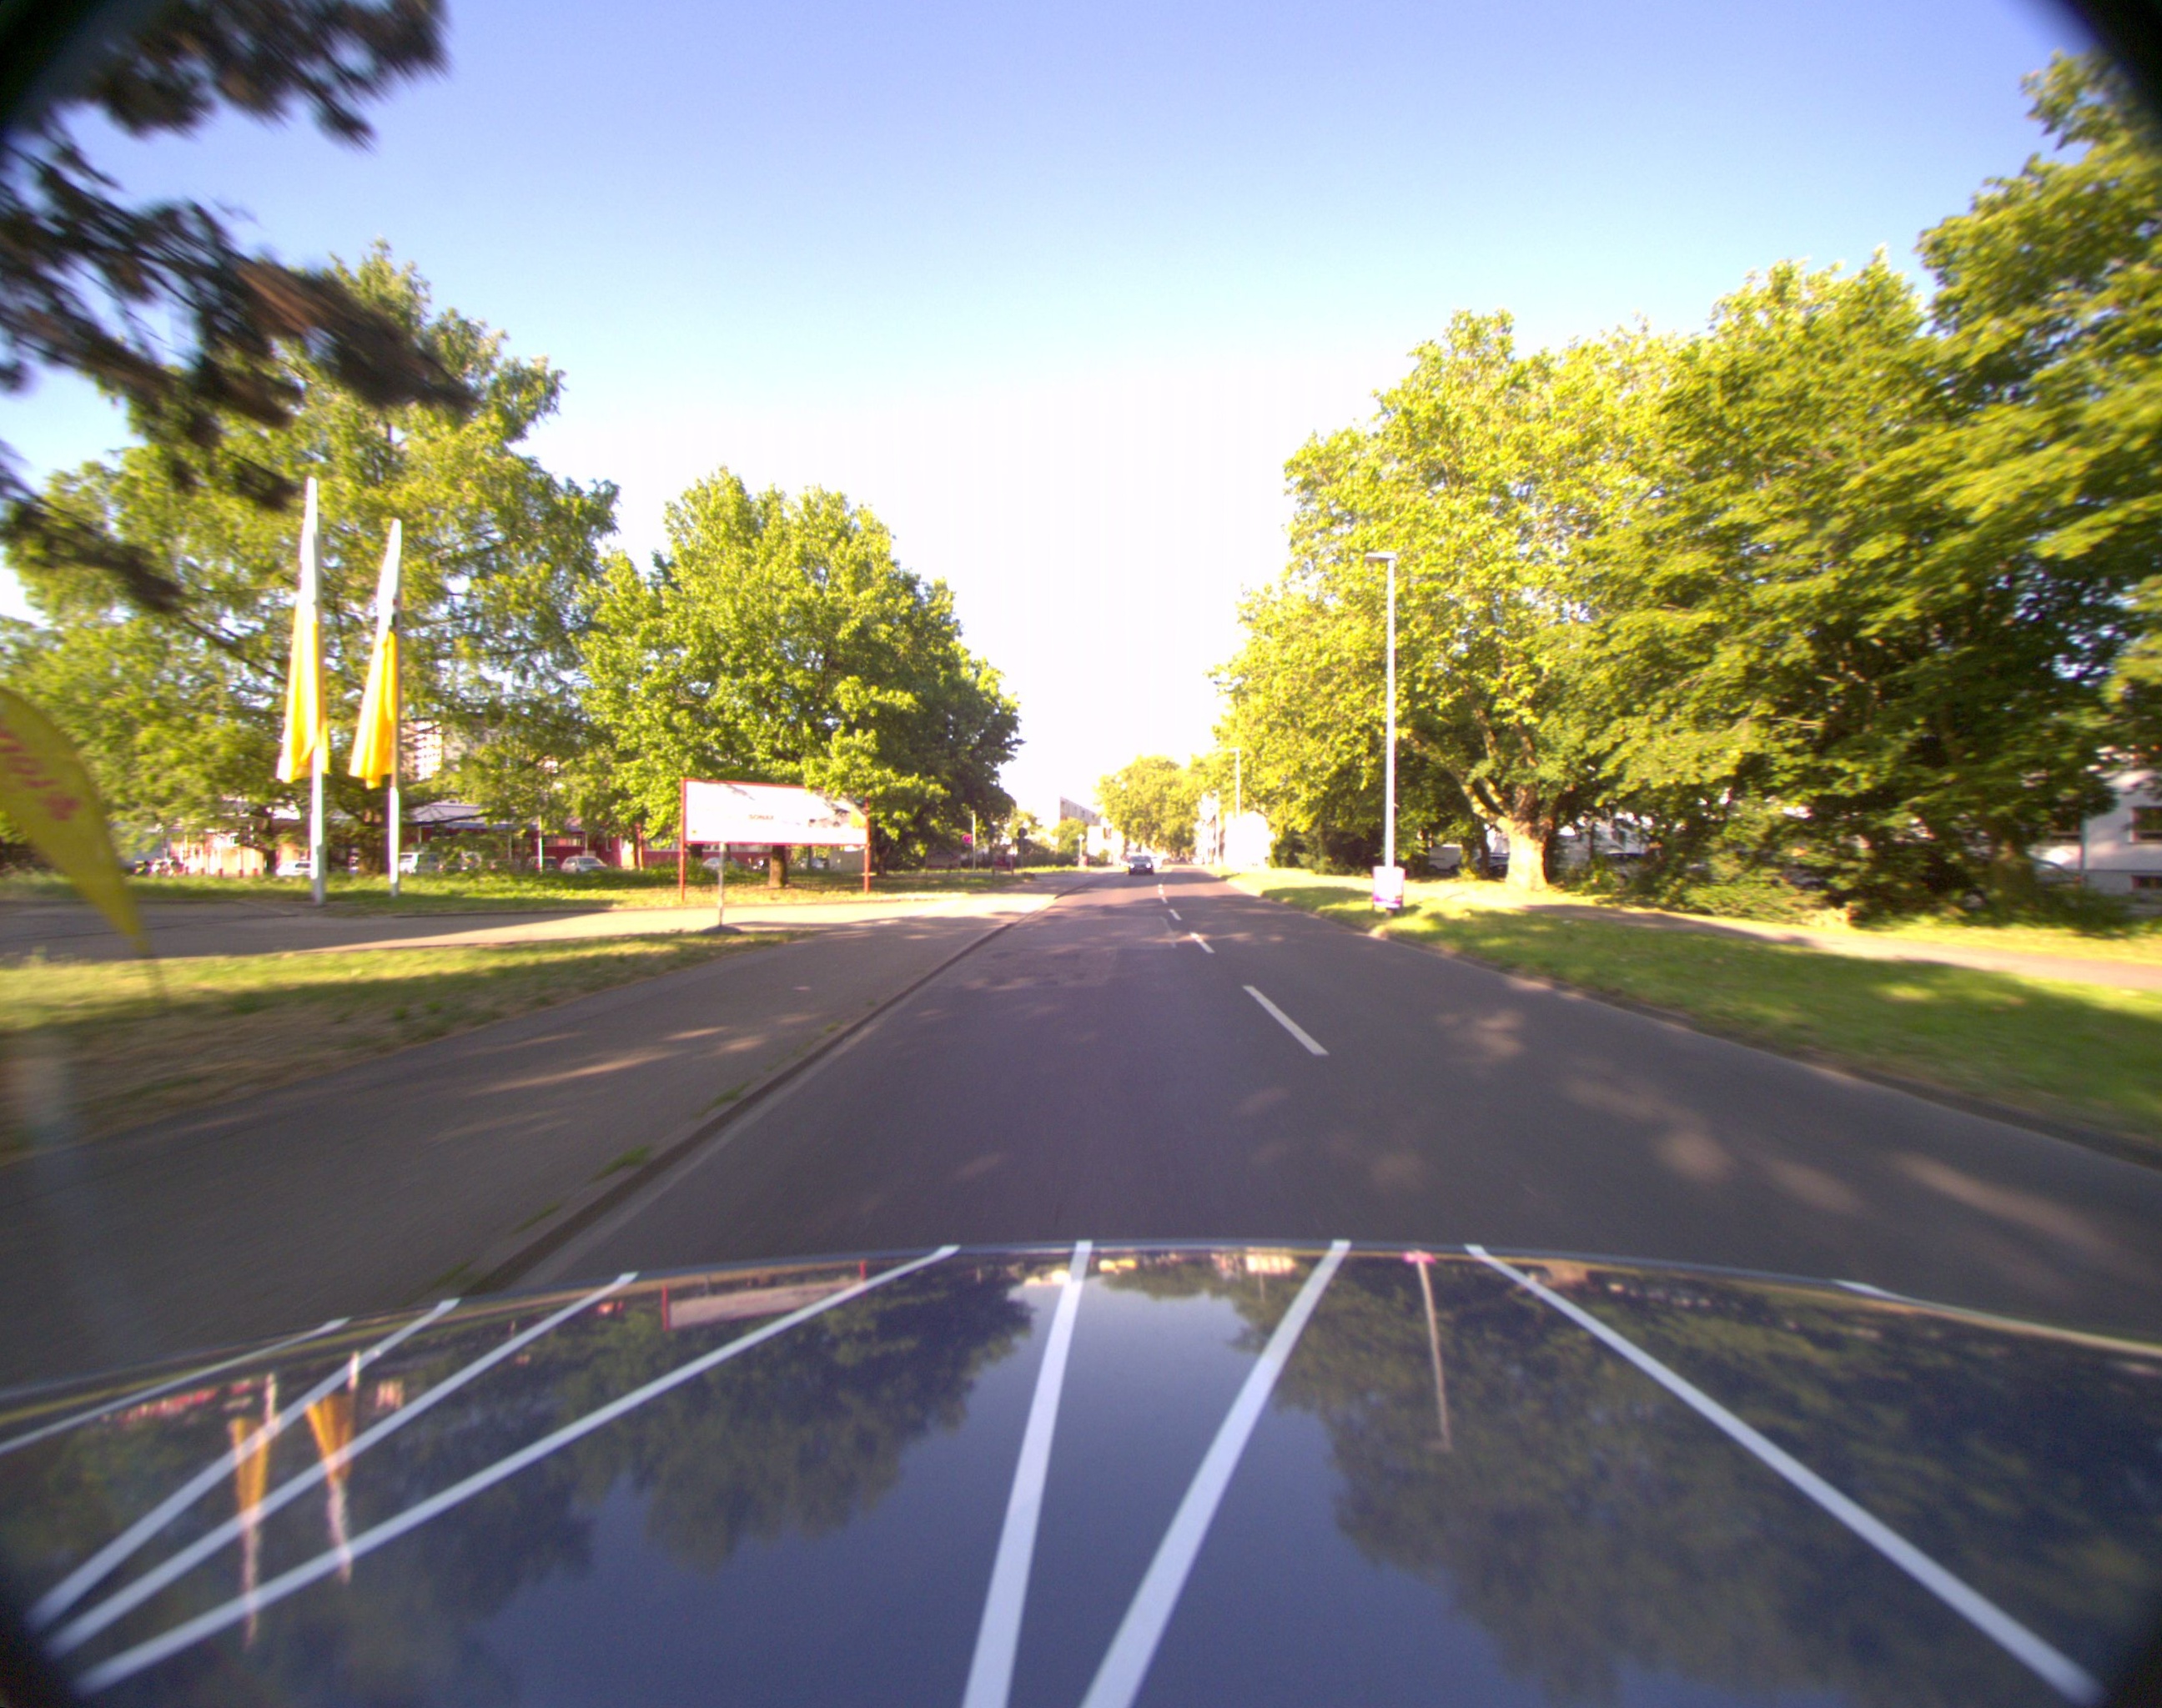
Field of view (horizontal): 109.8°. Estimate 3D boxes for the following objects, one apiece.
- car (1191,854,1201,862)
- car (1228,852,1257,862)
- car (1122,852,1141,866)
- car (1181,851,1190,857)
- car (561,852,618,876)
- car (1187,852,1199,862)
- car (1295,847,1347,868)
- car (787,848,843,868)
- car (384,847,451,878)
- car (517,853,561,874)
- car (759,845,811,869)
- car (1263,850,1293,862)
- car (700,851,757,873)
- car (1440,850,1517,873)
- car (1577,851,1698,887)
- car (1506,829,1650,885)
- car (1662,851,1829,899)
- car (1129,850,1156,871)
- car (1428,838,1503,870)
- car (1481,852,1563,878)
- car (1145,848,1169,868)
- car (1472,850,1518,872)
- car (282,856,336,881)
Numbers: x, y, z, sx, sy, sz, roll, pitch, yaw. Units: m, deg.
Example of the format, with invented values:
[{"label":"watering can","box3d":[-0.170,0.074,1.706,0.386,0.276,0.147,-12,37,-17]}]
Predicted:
[{"label":"car","box3d":[24.267,0.761,160.703,1.869,1.603,4.088,-1,0,6]},{"label":"car","box3d":[23.302,0.405,109.547,3.992,1.410,1.917,0,-1,16]},{"label":"car","box3d":[5.676,0.527,85.381,1.785,1.506,4.692,1,1,7]},{"label":"car","box3d":[27.949,-0.053,203.371,1.899,1.581,4.074,1,0,15]},{"label":"car","box3d":[-32.003,0.655,49.451,4.185,1.467,1.792,-2,0,38]},{"label":"car","box3d":[17.757,0.417,120.366,1.764,1.475,4.111,-2,0,9]},{"label":"car","box3d":[21.003,0.298,66.485,3.996,1.674,1.727,-2,1,4]},{"label":"car","box3d":[-21.397,0.324,61.132,4.433,1.584,2.004,-1,1,36]},{"label":"car","box3d":[-45.119,0.576,51.649,4.636,1.963,1.896,-2,0,29]},{"label":"car","box3d":[-42.032,0.749,58.934,3.543,1.493,1.689,-2,0,35]},{"label":"car","box3d":[-23.251,0.181,59.648,4.432,1.807,1.710,1,1,36]},{"label":"car","box3d":[27.980,0.285,107.842,3.992,1.552,1.867,-1,-1,15]},{"label":"car","box3d":[-26.615,0.623,57.294,4.655,1.467,1.792,-2,0,36]},{"label":"car","box3d":[24.711,0.450,47.328,3.938,1.374,1.693,1,1,3]},{"label":"car","box3d":[23.515,0.610,32.216,3.735,1.491,1.814,0,0,3]},{"label":"car","box3d":[24.166,0.149,37.140,5.442,2.487,2.187,2,1,4]},{"label":"car","box3d":[23.196,0.708,26.647,4.135,1.587,1.953,1,1,-1]},{"label":"car","box3d":[4.580,0.441,56.361,1.869,1.471,4.088,1,1,6]},{"label":"car","box3d":[25.388,0.001,50.268,3.997,2.032,1.908,-1,-1,-1]},{"label":"car","box3d":[24.003,0.581,41.458,3.489,1.374,1.693,0,0,3]},{"label":"car","box3d":[8.063,0.393,80.420,1.932,2.002,4.003,0,1,13]},{"label":"car","box3d":[34.767,0.557,63.884,1.897,1.731,4.177,2,1,7]},{"label":"car","box3d":[-48.270,0.922,47.475,3.934,1.473,1.689,-2,0,35]}]
